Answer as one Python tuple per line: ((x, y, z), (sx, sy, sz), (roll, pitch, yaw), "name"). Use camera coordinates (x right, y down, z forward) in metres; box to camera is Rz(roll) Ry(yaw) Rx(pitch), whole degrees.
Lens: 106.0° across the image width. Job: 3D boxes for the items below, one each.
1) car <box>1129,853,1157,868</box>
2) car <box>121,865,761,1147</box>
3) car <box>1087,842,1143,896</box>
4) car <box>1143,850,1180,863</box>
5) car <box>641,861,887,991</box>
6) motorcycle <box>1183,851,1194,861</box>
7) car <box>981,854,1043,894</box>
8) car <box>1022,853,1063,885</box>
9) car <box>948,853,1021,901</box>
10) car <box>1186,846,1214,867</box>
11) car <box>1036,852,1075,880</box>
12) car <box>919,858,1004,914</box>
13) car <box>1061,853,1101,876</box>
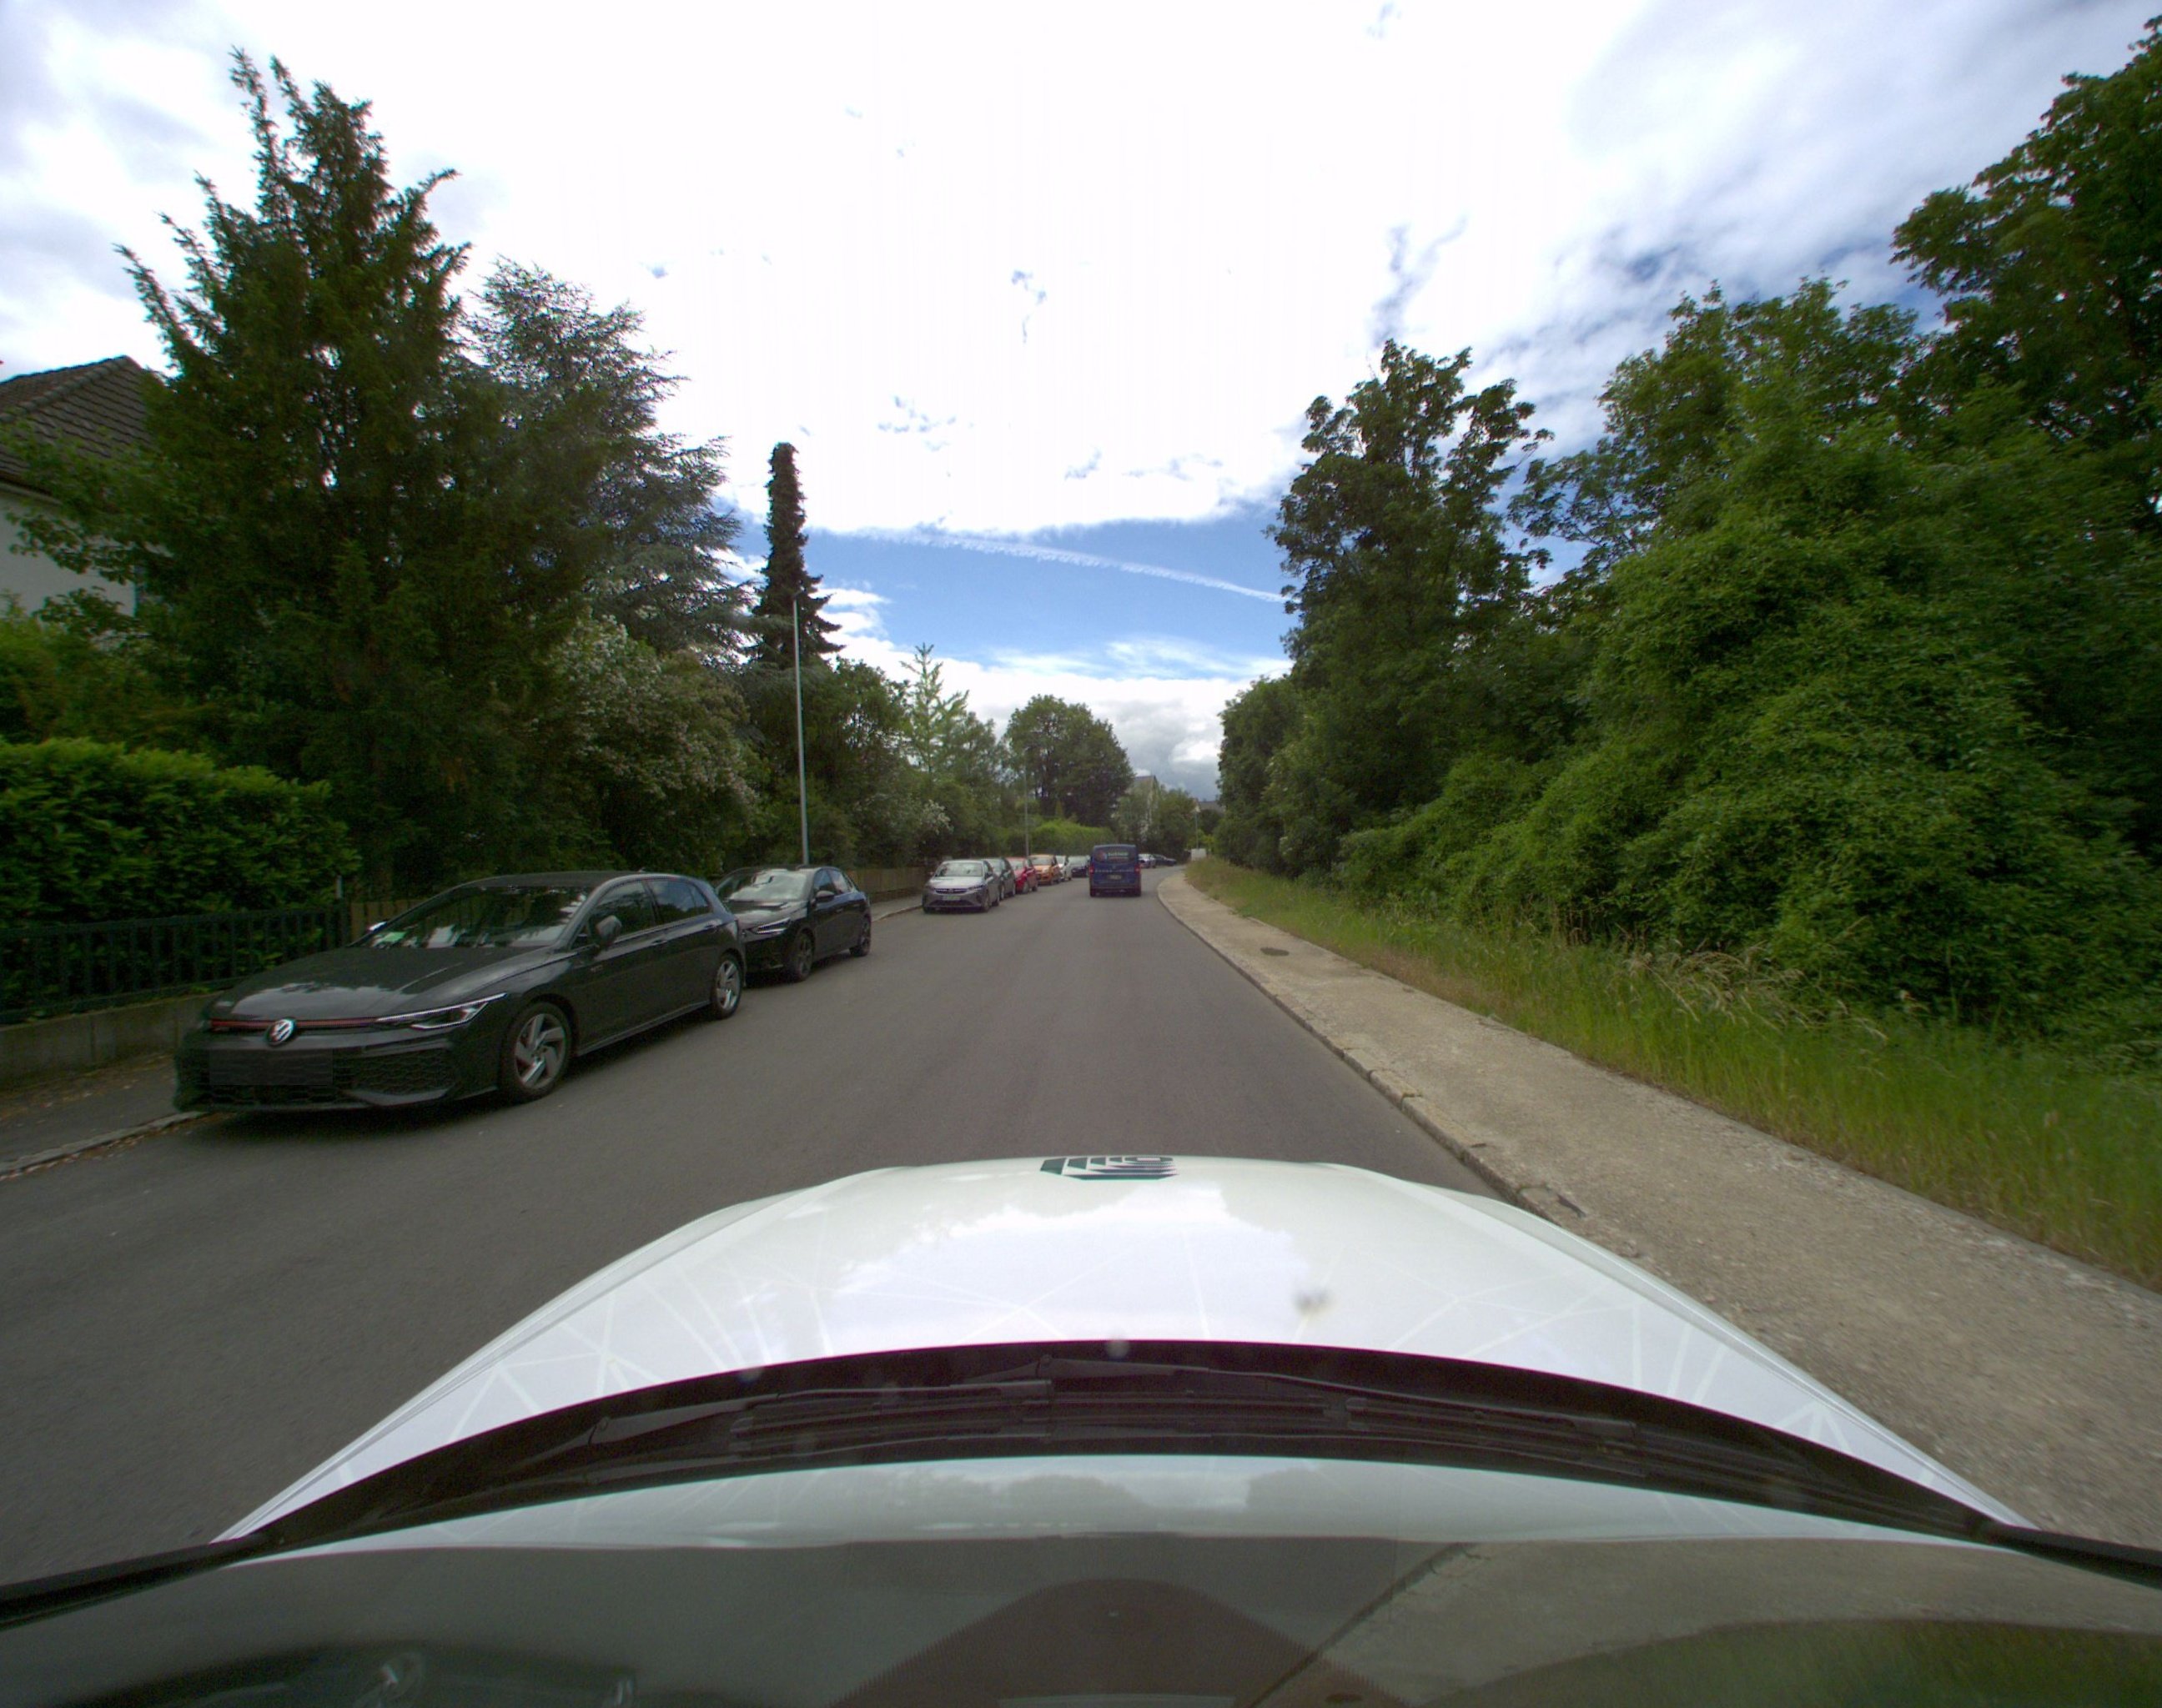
((6.044, 0.621, 78.810), (1.817, 1.374, 4.465), (0, 0, 17), "car")
((-4.252, 0.845, 6.447), (1.701, 1.416, 4.150), (-1, 0, 1), "car")
((1.216, 0.519, 30.901), (1.930, 1.880, 4.530), (-1, 0, 0), "car")
((9.541, 0.332, 96.720), (4.140, 1.447, 1.745), (-1, -1, 11), "car")
((-4.111, 0.839, 11.353), (1.701, 1.416, 4.133), (-1, 0, 1), "car")
((15.738, 0.252, 119.150), (0.803, 1.485, 2.911), (-1, -1, 22), "motorcycle")
((-2.778, 0.780, 33.568), (1.698, 1.514, 4.371), (-1, 0, 6), "car")
((-1.920, 0.728, 41.475), (1.536, 1.514, 3.650), (-1, 0, 6), "car")
((-3.330, 0.744, 28.833), (1.699, 1.514, 4.500), (-1, 0, 4), "car")
((12.703, 0.234, 86.361), (2.190, 2.063, 6.159), (-1, 0, 15), "car")
((-1.407, 0.651, 46.061), (1.579, 1.514, 3.599), (-1, 0, 8), "car")
((-3.297, 0.836, 23.246), (1.701, 1.410, 4.161), (-1, 0, 1), "car")
((0.032, 0.676, 53.579), (1.707, 1.385, 4.678), (-1, 0, 11), "car")
